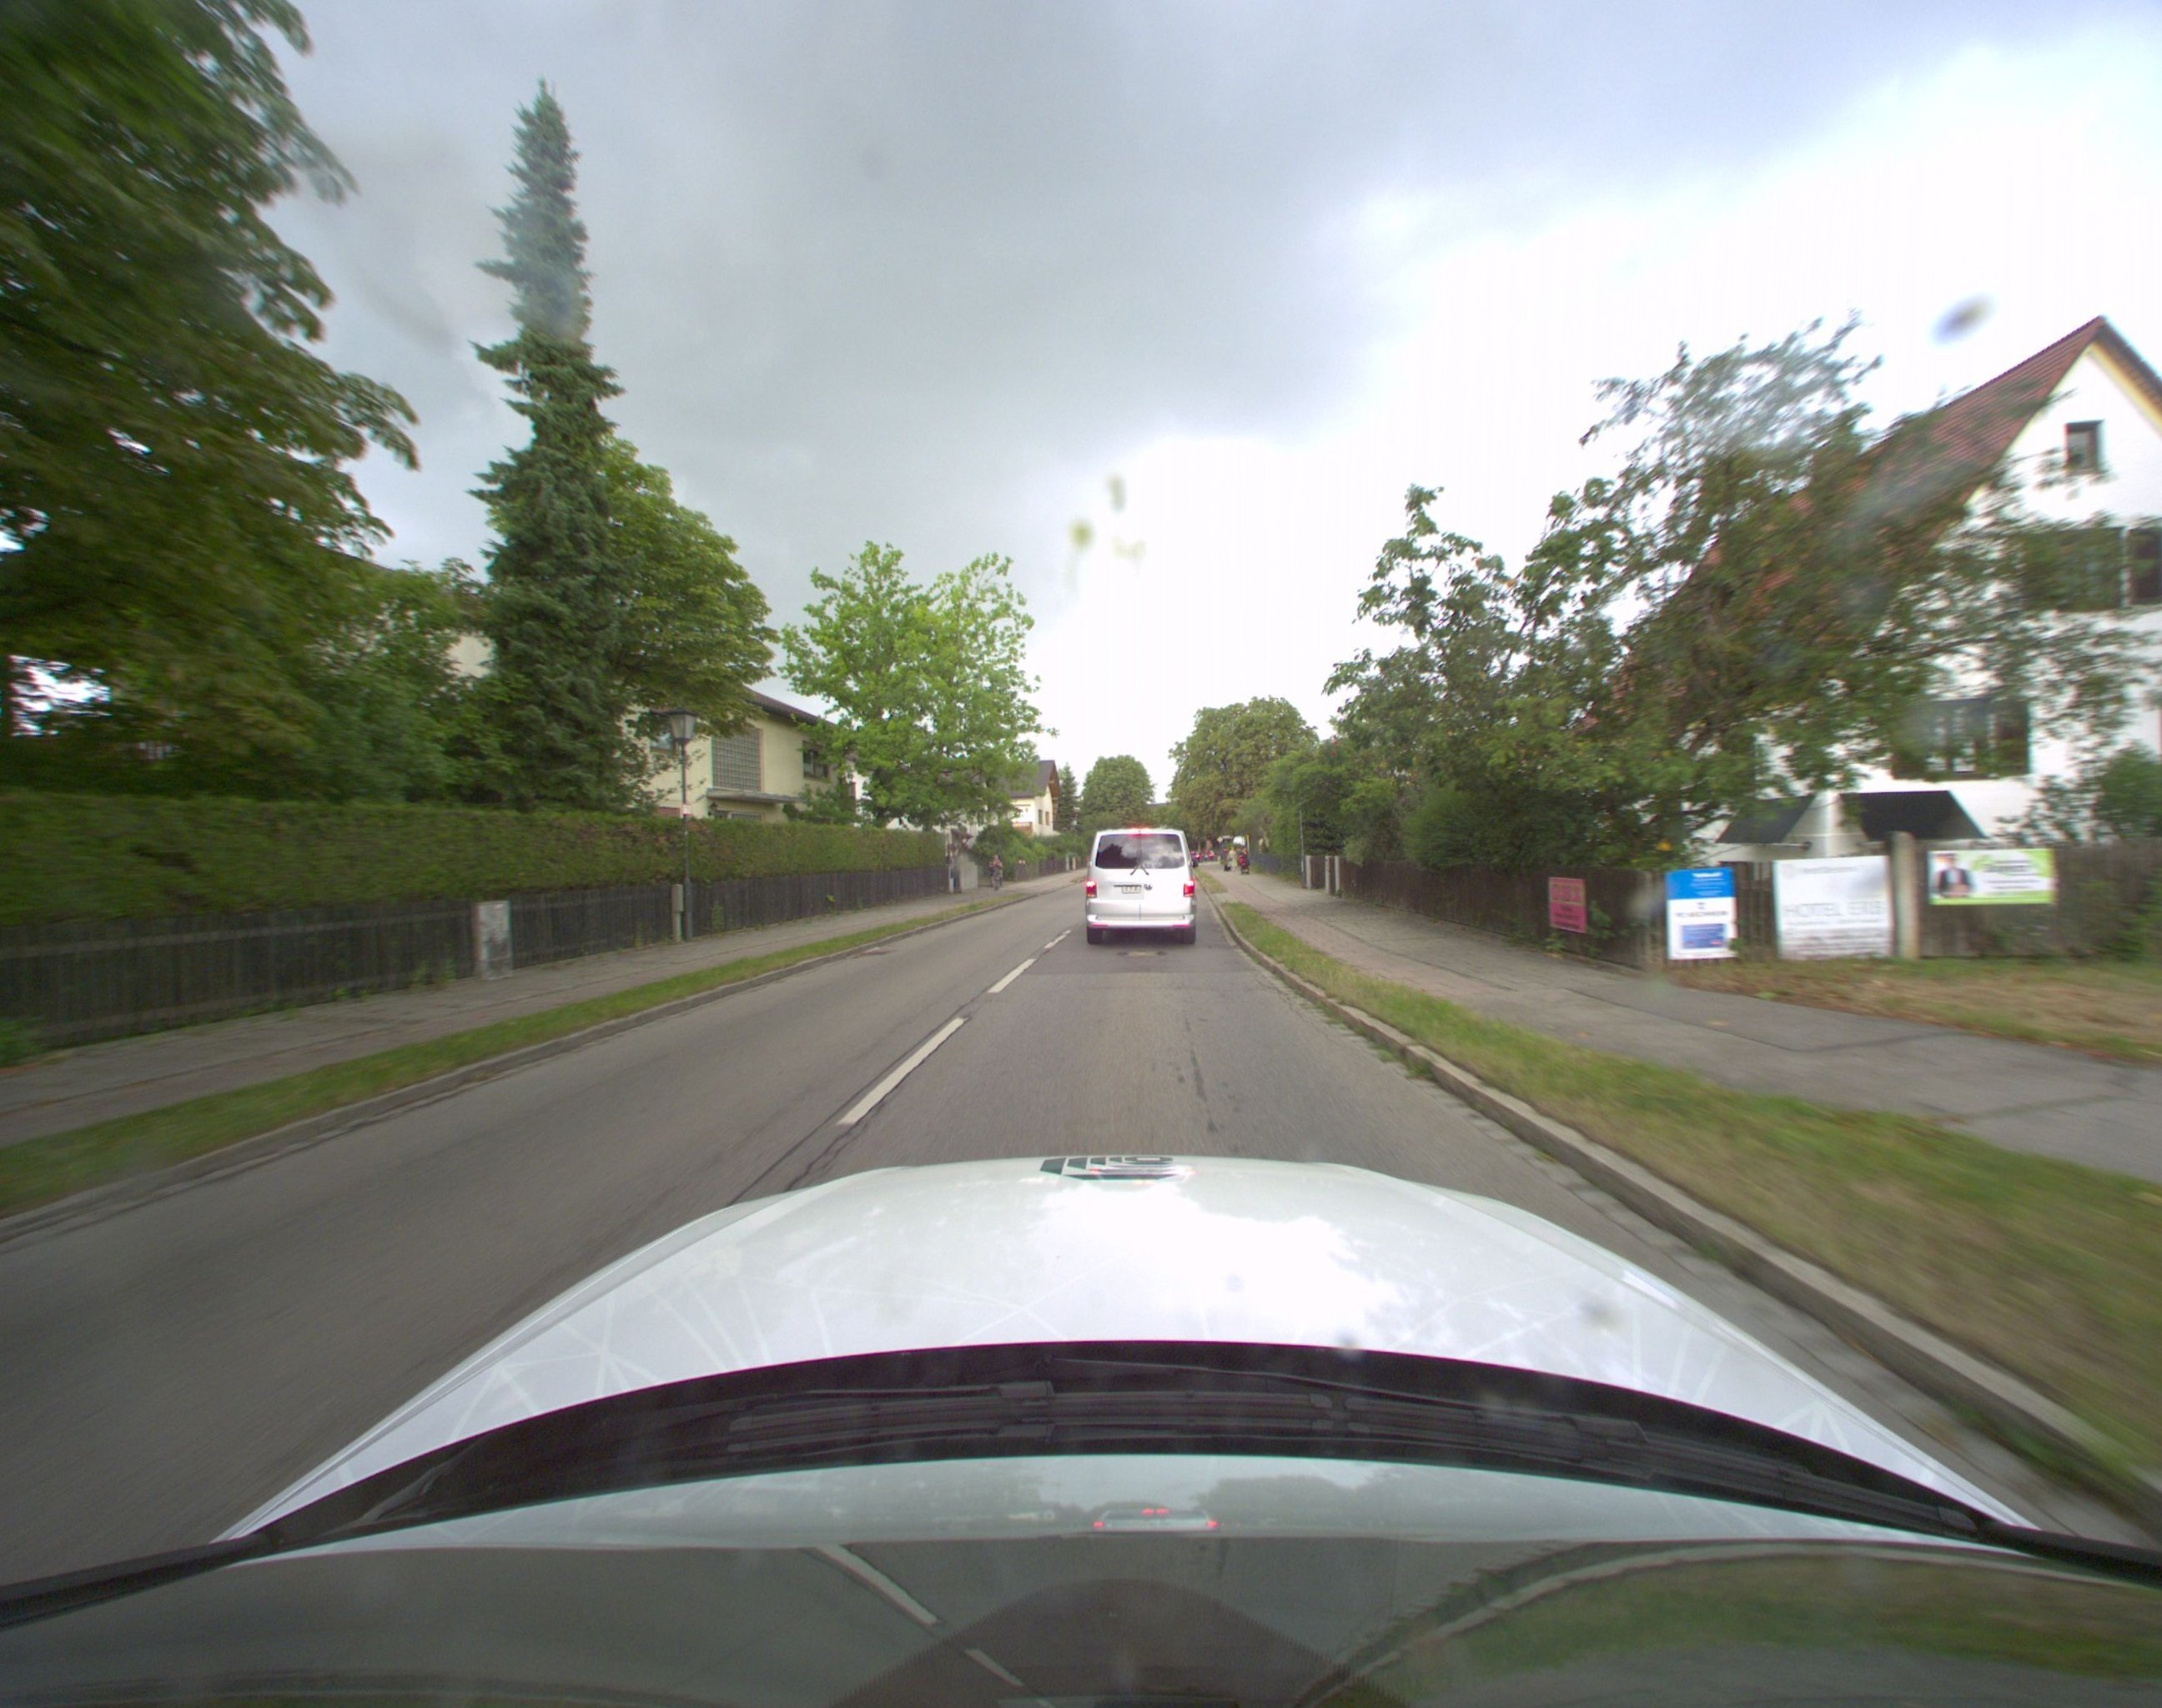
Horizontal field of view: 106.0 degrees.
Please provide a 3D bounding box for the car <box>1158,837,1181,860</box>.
[{"bbox_3d":[8.138,-0.502,74.297,1.983,2.013,4.008,0,0,7],"label":"car"}]

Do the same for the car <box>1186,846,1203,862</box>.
[{"bbox_3d":[14.460,0.009,103.714,1.981,2.013,4.011,-2,0,9],"label":"car"}]

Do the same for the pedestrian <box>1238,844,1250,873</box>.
[{"bbox_3d":[8.936,0.258,44.591,0.549,1.549,0.612,0,0,2],"label":"pedestrian"}]

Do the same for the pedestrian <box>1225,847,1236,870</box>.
[{"bbox_3d":[9.688,0.285,52.633,0.620,1.523,0.579,0,0,2],"label":"pedestrian"}]

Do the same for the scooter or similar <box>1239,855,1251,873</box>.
[{"bbox_3d":[8.865,0.520,43.908,0.549,0.971,0.620,0,0,2],"label":"scooter or similar"}]

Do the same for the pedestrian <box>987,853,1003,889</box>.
[{"bbox_3d":[-3.709,0.736,35.214,0.620,1.549,0.523,0,0,2],"label":"pedestrian"}]

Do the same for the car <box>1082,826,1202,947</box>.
[{"bbox_3d":[1.183,0.525,15.010,1.878,1.912,4.007,-1,0,6],"label":"car"}]

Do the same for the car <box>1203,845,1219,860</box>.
[{"bbox_3d":[18.159,-0.168,113.619,1.980,2.013,4.014,-2,0,13],"label":"car"}]

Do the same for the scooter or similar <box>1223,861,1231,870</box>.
[{"bbox_3d":[9.533,0.749,53.222,0.472,0.545,0.459,0,0,2],"label":"scooter or similar"}]
